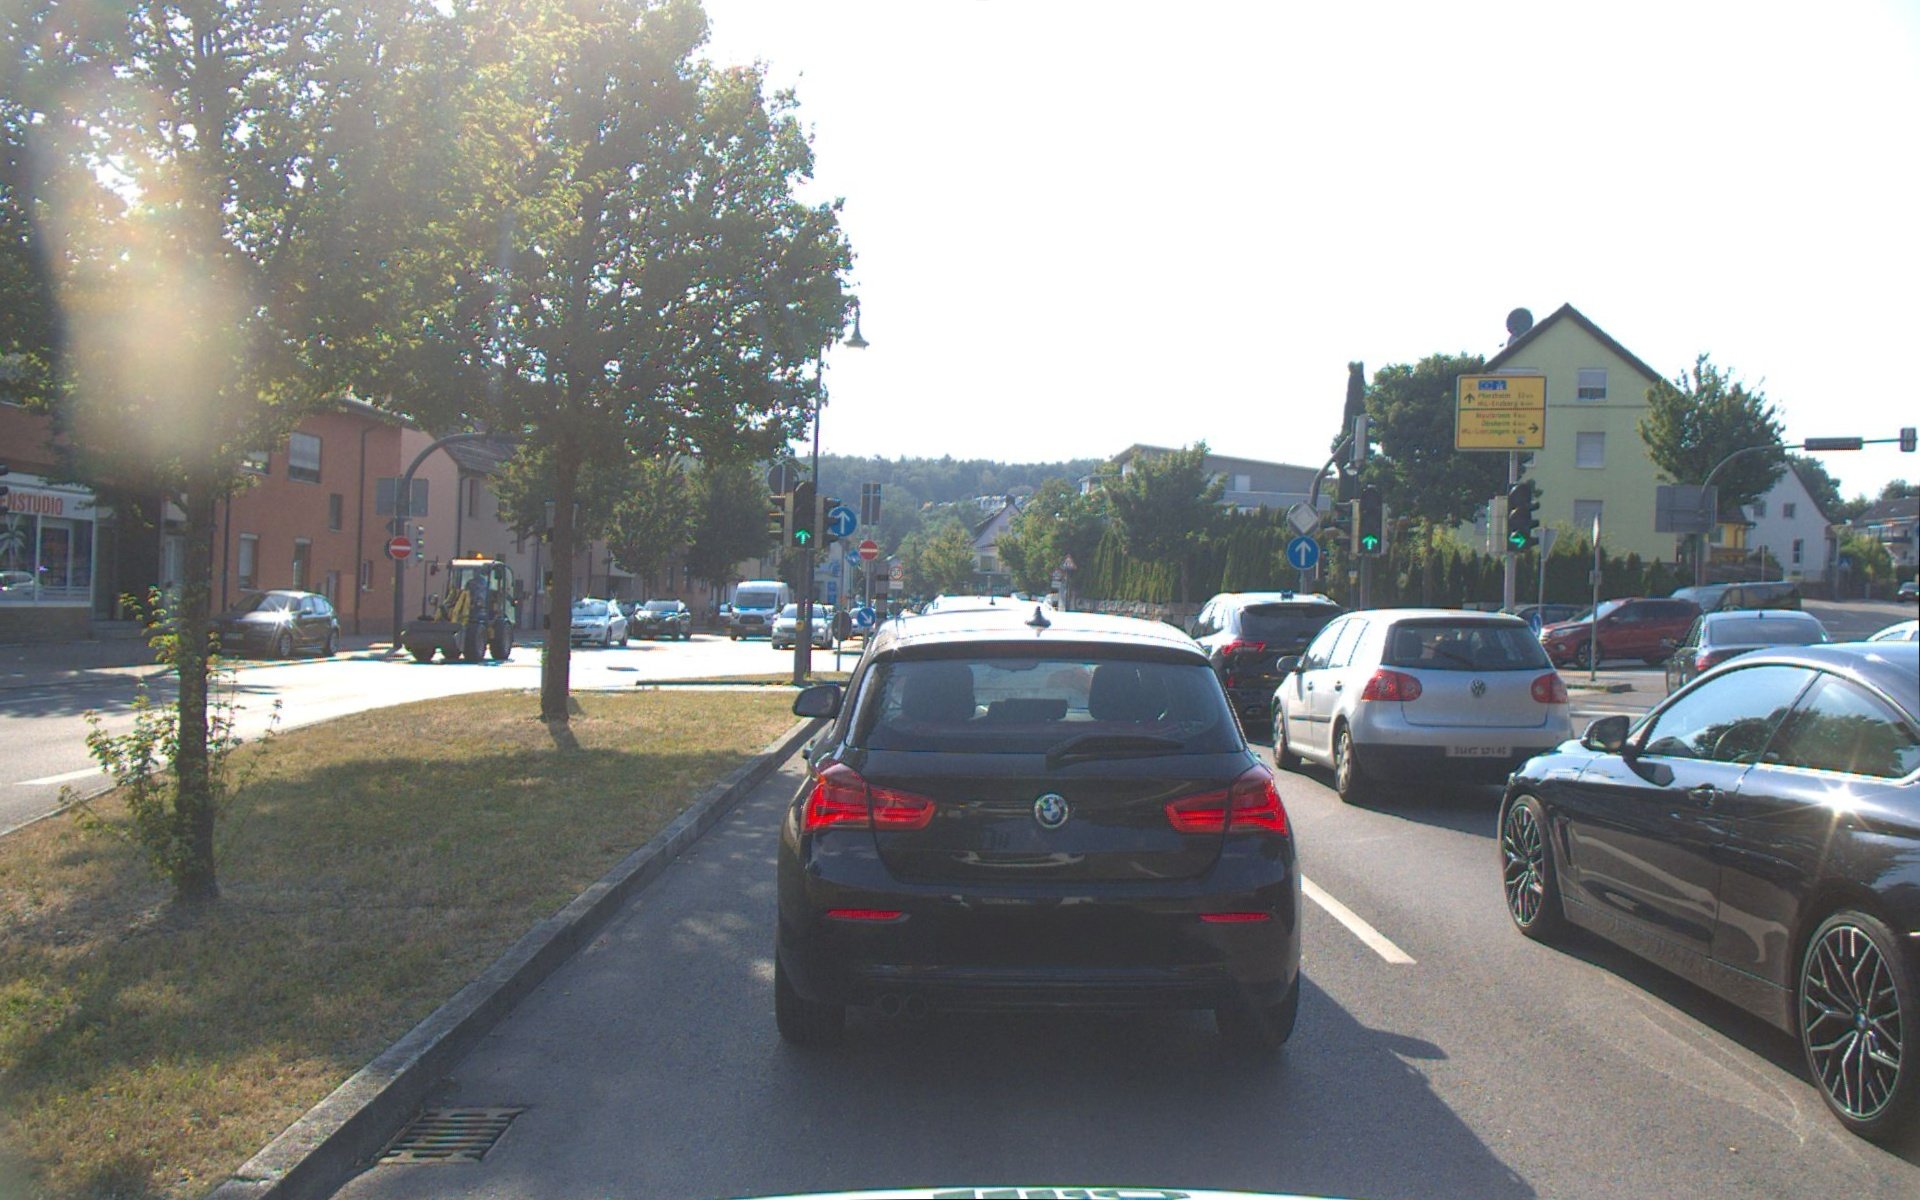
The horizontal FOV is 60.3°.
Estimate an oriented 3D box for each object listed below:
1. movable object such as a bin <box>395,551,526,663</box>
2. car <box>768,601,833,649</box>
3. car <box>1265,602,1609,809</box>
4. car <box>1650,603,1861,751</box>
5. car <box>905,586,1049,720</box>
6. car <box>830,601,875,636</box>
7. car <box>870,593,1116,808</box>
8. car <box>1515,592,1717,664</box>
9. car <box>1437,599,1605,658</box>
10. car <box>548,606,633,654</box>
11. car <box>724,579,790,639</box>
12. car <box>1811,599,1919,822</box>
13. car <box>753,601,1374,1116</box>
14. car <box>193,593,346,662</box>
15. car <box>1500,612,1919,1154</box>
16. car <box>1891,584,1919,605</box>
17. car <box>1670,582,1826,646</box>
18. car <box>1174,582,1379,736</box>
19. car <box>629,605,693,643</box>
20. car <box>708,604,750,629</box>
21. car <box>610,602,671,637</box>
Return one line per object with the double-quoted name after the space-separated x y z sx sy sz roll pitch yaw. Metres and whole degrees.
-11.645 0.155 38.845 1.701 2.485 4.449 0 0 0 "movable object such as a bin"
-5.307 0.805 55.406 1.801 1.508 4.000 1 0 0 "car"
3.766 0.755 13.772 1.725 1.451 3.902 -1 0 0 "car"
9.569 0.841 20.199 1.621 1.569 4.401 -1 0 17 "car"
0.201 0.643 22.444 1.751 1.622 4.280 -1 0 0 "car"
-4.878 0.826 75.543 1.801 1.508 4.000 1 0 0 "car"
0.233 0.714 13.981 1.751 1.520 4.280 -1 0 0 "car"
16.324 0.687 41.251 4.333 1.670 1.845 1 0 -8 "car"
15.168 0.760 44.830 3.907 1.515 1.847 1 0 -3 "car"
-12.087 0.955 54.299 1.701 1.323 3.800 5 0 2 "car"
-8.628 0.387 70.800 2.041 2.435 5.528 1 0 0 "car"
7.687 0.787 12.124 1.583 1.569 3.320 -1 0 9 "car"
0.291 0.734 6.836 1.751 1.422 4.280 -1 0 0 "car"
-15.474 0.577 37.292 1.702 1.323 3.999 5 0 -1 "car"
3.466 0.783 5.816 1.725 1.422 4.280 -1 0 0 "car"
77.899 -0.435 135.733 1.934 1.709 4.195 0 0 38 "car"
22.657 0.409 47.511 4.722 1.770 1.828 1 0 -32 "car"
3.742 0.646 20.184 1.725 1.685 3.902 -1 0 0 "car"
-12.232 0.957 67.864 1.701 1.323 3.800 5 0 2 "car"
-13.536 0.955 96.931 1.701 1.323 3.800 5 0 2 "car"
-14.104 0.842 73.186 1.701 1.323 4.001 5 0 2 "car"
